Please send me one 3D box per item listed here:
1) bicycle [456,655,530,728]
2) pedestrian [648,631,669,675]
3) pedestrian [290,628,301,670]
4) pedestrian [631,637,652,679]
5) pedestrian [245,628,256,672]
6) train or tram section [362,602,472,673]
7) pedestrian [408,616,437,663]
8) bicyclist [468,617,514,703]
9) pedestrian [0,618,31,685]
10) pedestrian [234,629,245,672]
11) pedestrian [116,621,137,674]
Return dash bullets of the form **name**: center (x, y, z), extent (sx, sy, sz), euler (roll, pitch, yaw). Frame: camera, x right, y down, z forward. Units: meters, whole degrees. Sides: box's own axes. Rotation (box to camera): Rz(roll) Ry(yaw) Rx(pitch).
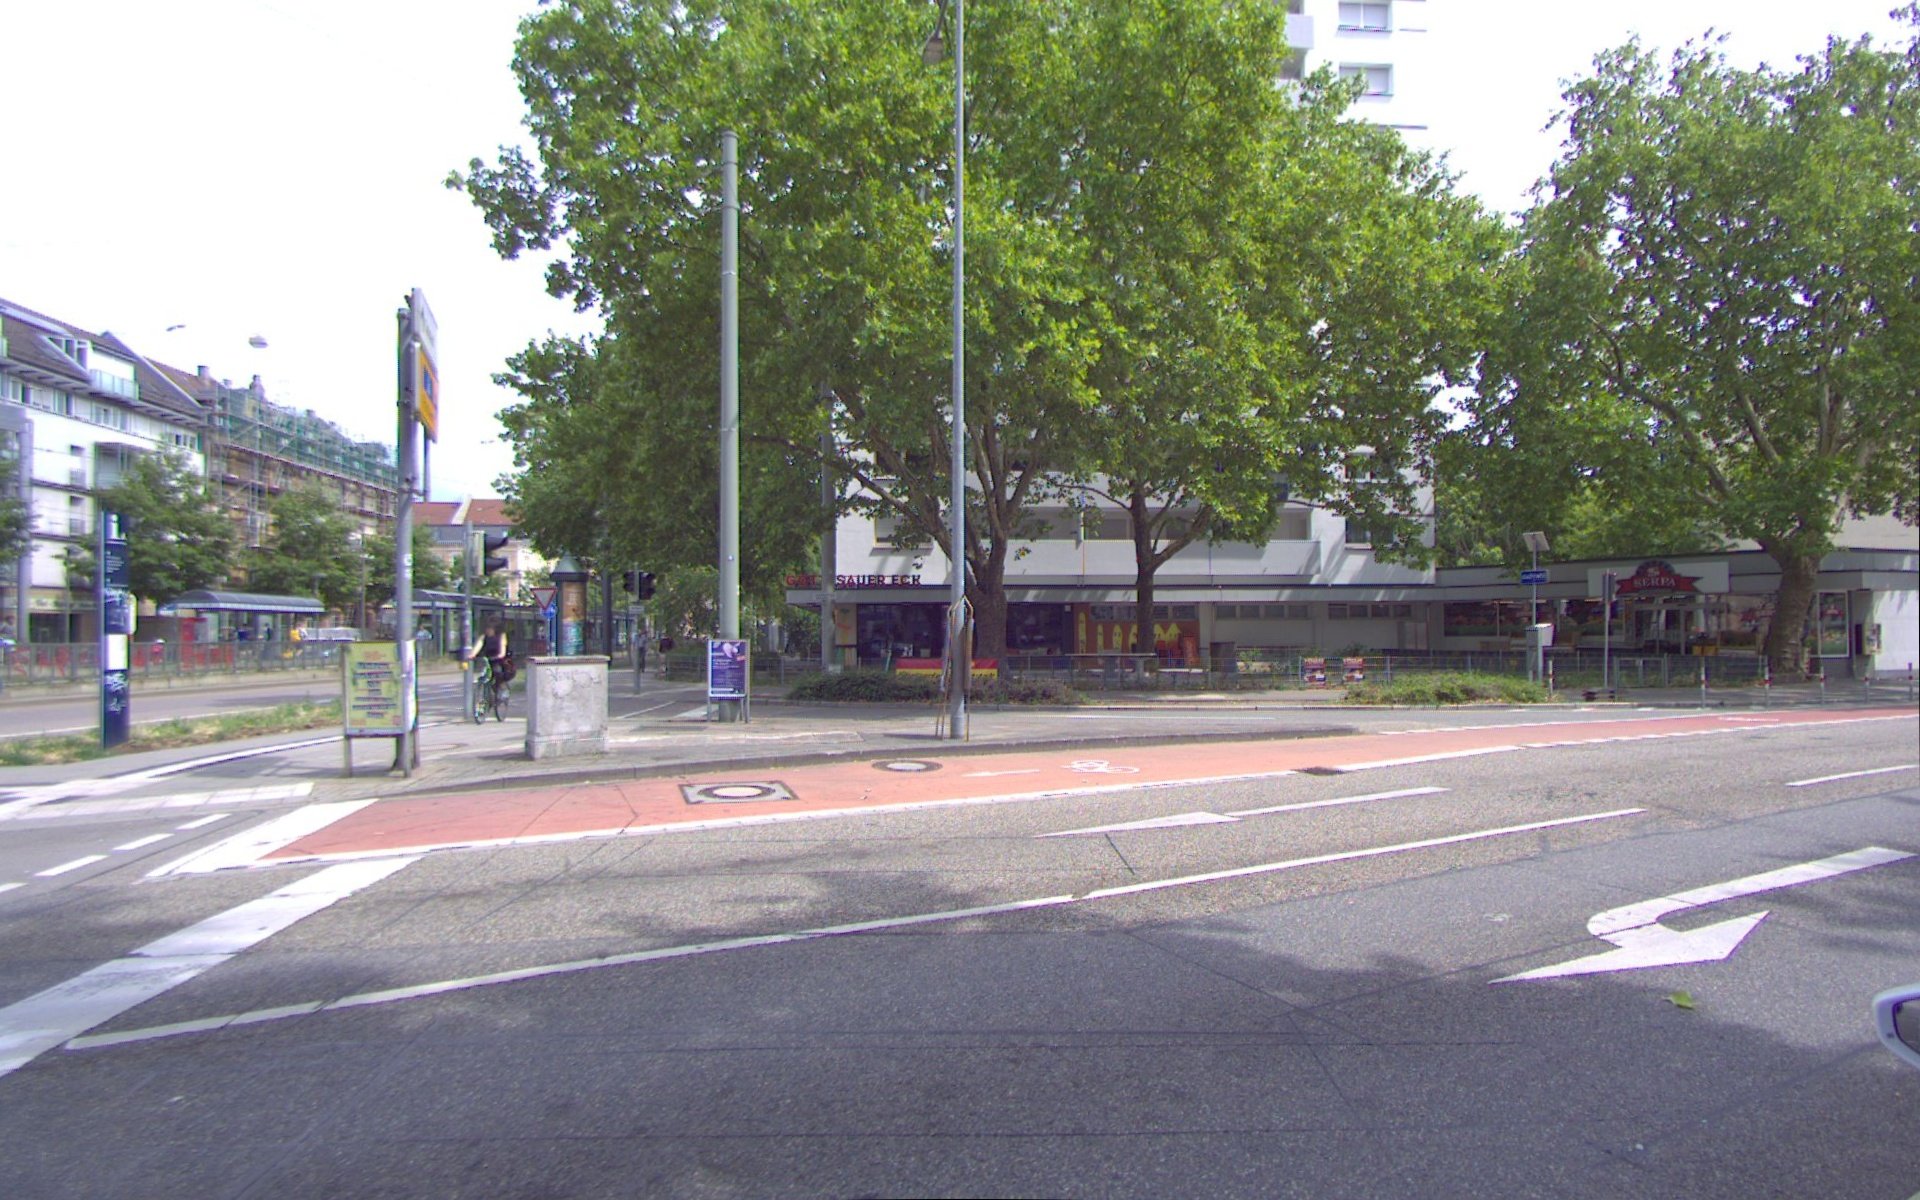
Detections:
- **bicycle**: center (-7.663, 1.480, 16.568), extent (0.615, 1.108, 1.968), euler (-1, -4, -10)
- **pedestrian**: center (-11.789, 2.062, 39.237), extent (0.683, 1.657, 0.684), euler (-1, -2, -8)
- **pedestrian**: center (-32.125, 2.370, 48.561), extent (0.320, 1.980, 0.311), euler (0, -2, -15)
- **pedestrian**: center (-12.465, 2.263, 39.331), extent (0.683, 1.645, 0.505), euler (-1, -2, -8)
- **pedestrian**: center (-32.713, 2.304, 46.329), extent (0.320, 1.980, 0.311), euler (0, -2, -15)
- **train or tram section**: center (-27.726, 2.021, 51.704), extent (2.322, 3.358, 7.511), euler (-1, -3, -7)
- **pedestrian**: center (-23.911, 1.747, 44.693), extent (0.837, 2.040, 0.872), euler (-1, -1, -6)
- **bicyclist**: center (-7.624, 0.972, 16.357), extent (0.483, 1.360, 0.751), euler (-1, -2, -9)
- **pedestrian**: center (-32.909, 1.790, 34.805), extent (0.746, 2.280, 0.757), euler (-1, -2, -5)
- **pedestrian**: center (-33.089, 2.319, 46.121), extent (0.320, 1.980, 0.311), euler (0, -2, -15)
- **pedestrian**: center (-32.498, 1.844, 39.153), extent (0.492, 2.040, 0.369), euler (-1, -2, -6)
